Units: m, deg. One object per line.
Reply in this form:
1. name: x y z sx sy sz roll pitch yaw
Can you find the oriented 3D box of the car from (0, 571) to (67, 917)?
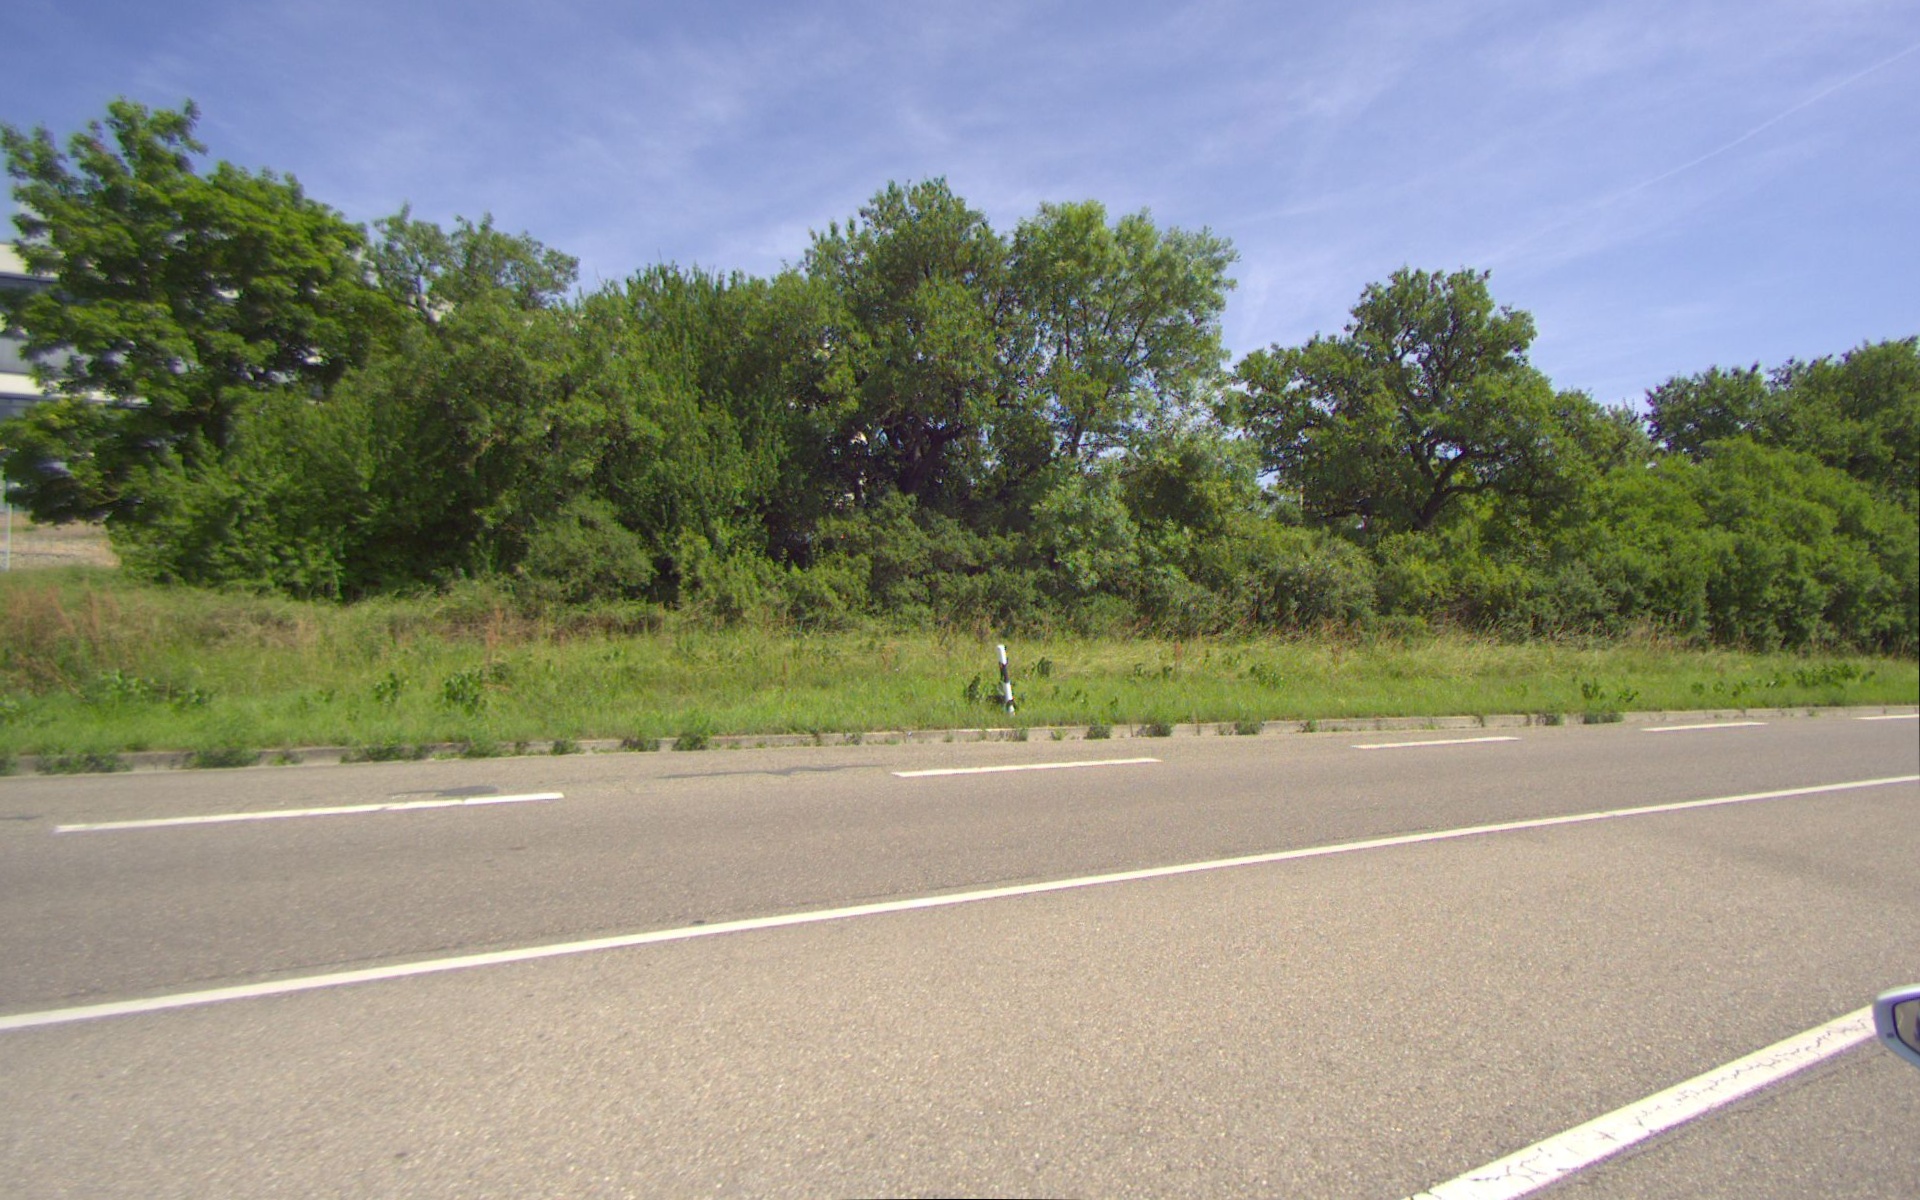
1. car: -6.269 0.590 3.320 4.570 1.569 1.929 2 0 -28
